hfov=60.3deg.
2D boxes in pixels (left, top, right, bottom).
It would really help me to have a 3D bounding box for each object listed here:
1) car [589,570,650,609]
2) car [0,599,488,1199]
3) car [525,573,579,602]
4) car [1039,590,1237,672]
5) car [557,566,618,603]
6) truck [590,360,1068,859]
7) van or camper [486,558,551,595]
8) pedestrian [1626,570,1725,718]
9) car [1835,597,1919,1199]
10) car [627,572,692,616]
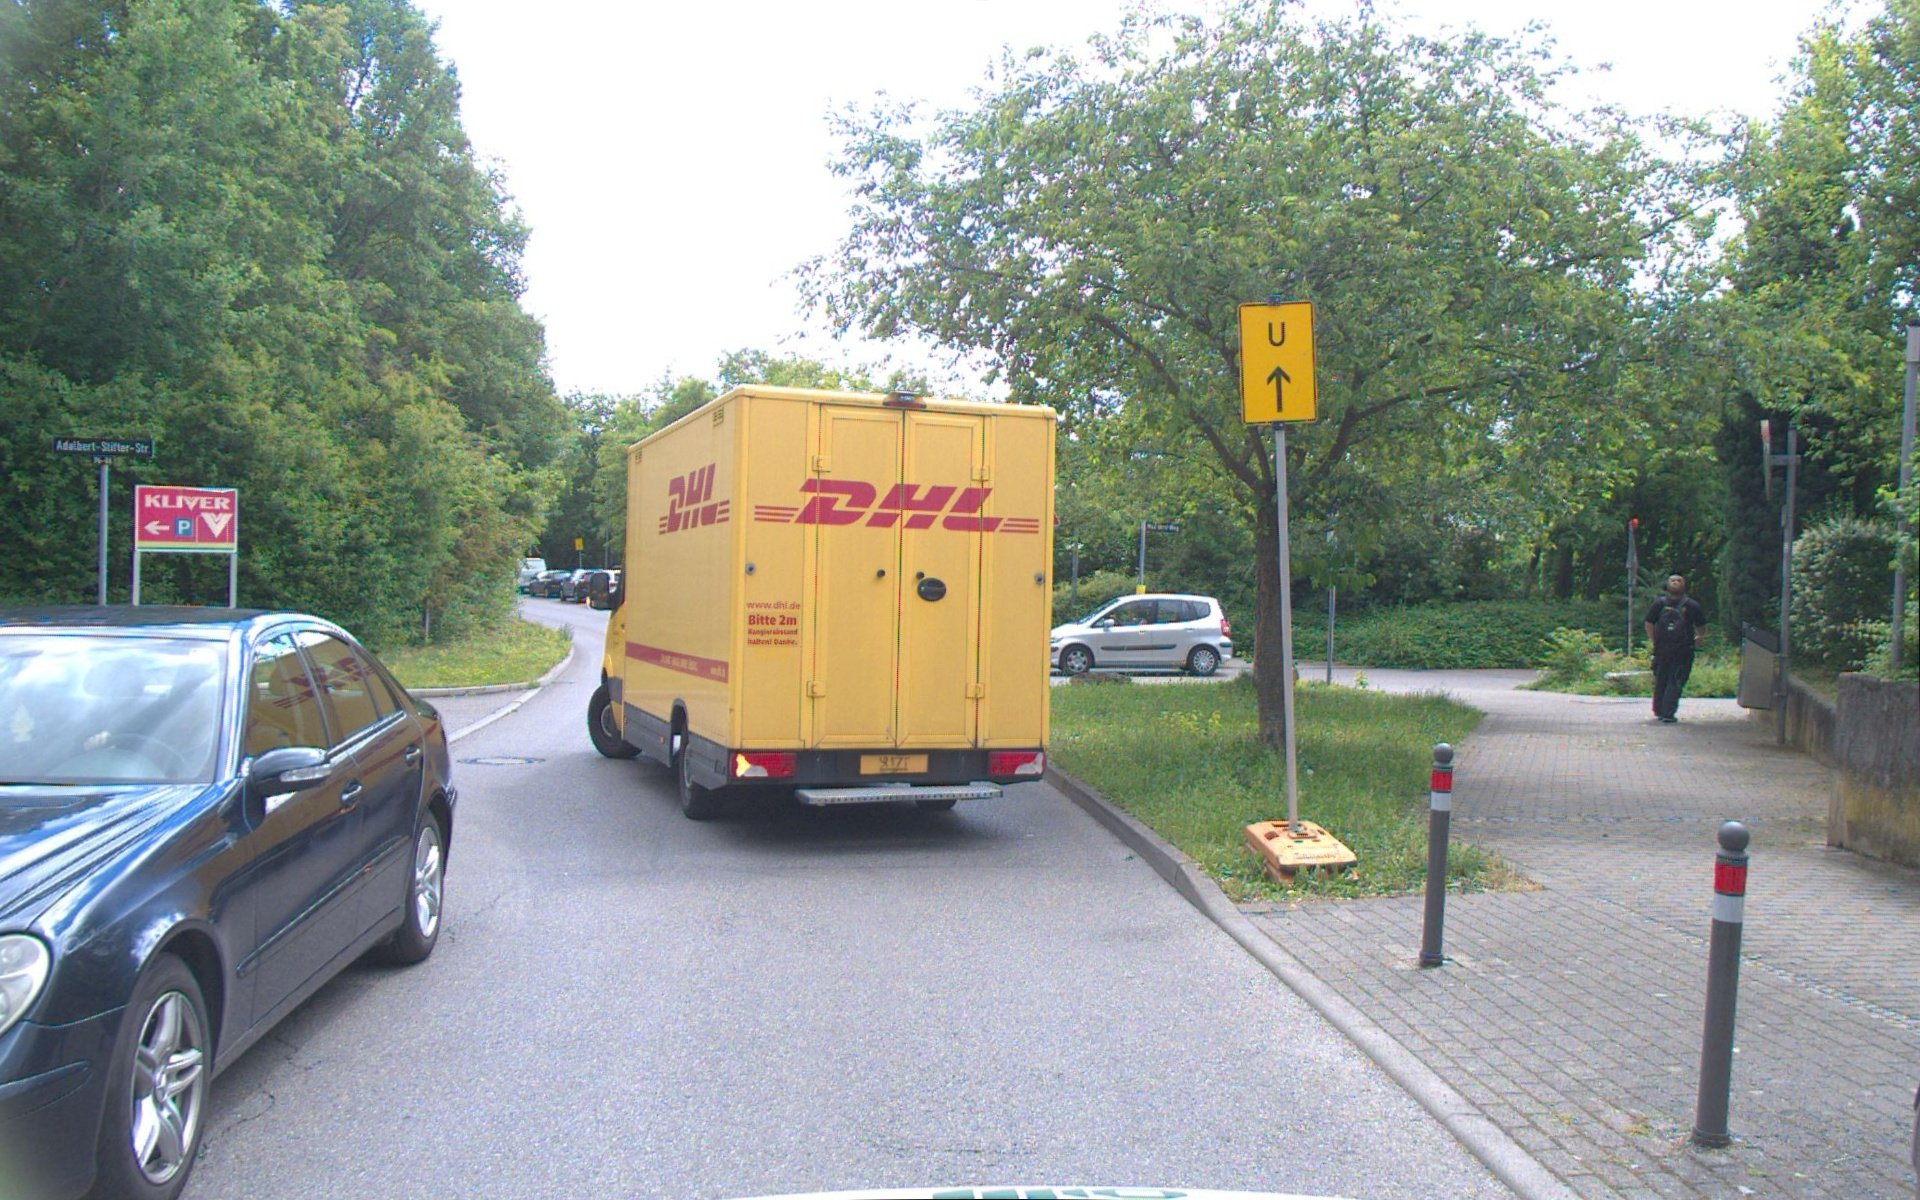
[{"bbox_3d":[-16.234,-0.510,78.761,1.848,1.718,4.543,1,1,-25],"label":"car"},{"bbox_3d":[-2.823,0.732,5.299,1.718,1.444,4.363,0,0,-5],"label":"car"},{"bbox_3d":[-22.183,-0.700,89.819,1.780,1.489,3.957,0,2,-32],"label":"car"},{"bbox_3d":[3.372,0.579,31.769,3.567,1.481,1.847,1,0,-2],"label":"car"},{"bbox_3d":[-18.945,-0.809,83.969,1.971,1.654,4.240,-3,4,-27],"label":"car"},{"bbox_3d":[-1.419,0.039,12.948,2.192,2.858,6.535,0,0,-19],"label":"truck"},{"bbox_3d":[-25.388,-1.390,94.960,1.977,1.953,5.202,-2,3,-35],"label":"van or camper"},{"bbox_3d":[8.733,0.533,20.206,0.816,1.767,0.785,1,-1,-7],"label":"pedestrian"},{"bbox_3d":[2.581,0.730,1.188,1.657,1.445,3.998,0,0,-3],"label":"car"},{"bbox_3d":[-13.194,-0.292,72.361,1.691,1.618,3.968,-8,4,-25],"label":"car"}]
